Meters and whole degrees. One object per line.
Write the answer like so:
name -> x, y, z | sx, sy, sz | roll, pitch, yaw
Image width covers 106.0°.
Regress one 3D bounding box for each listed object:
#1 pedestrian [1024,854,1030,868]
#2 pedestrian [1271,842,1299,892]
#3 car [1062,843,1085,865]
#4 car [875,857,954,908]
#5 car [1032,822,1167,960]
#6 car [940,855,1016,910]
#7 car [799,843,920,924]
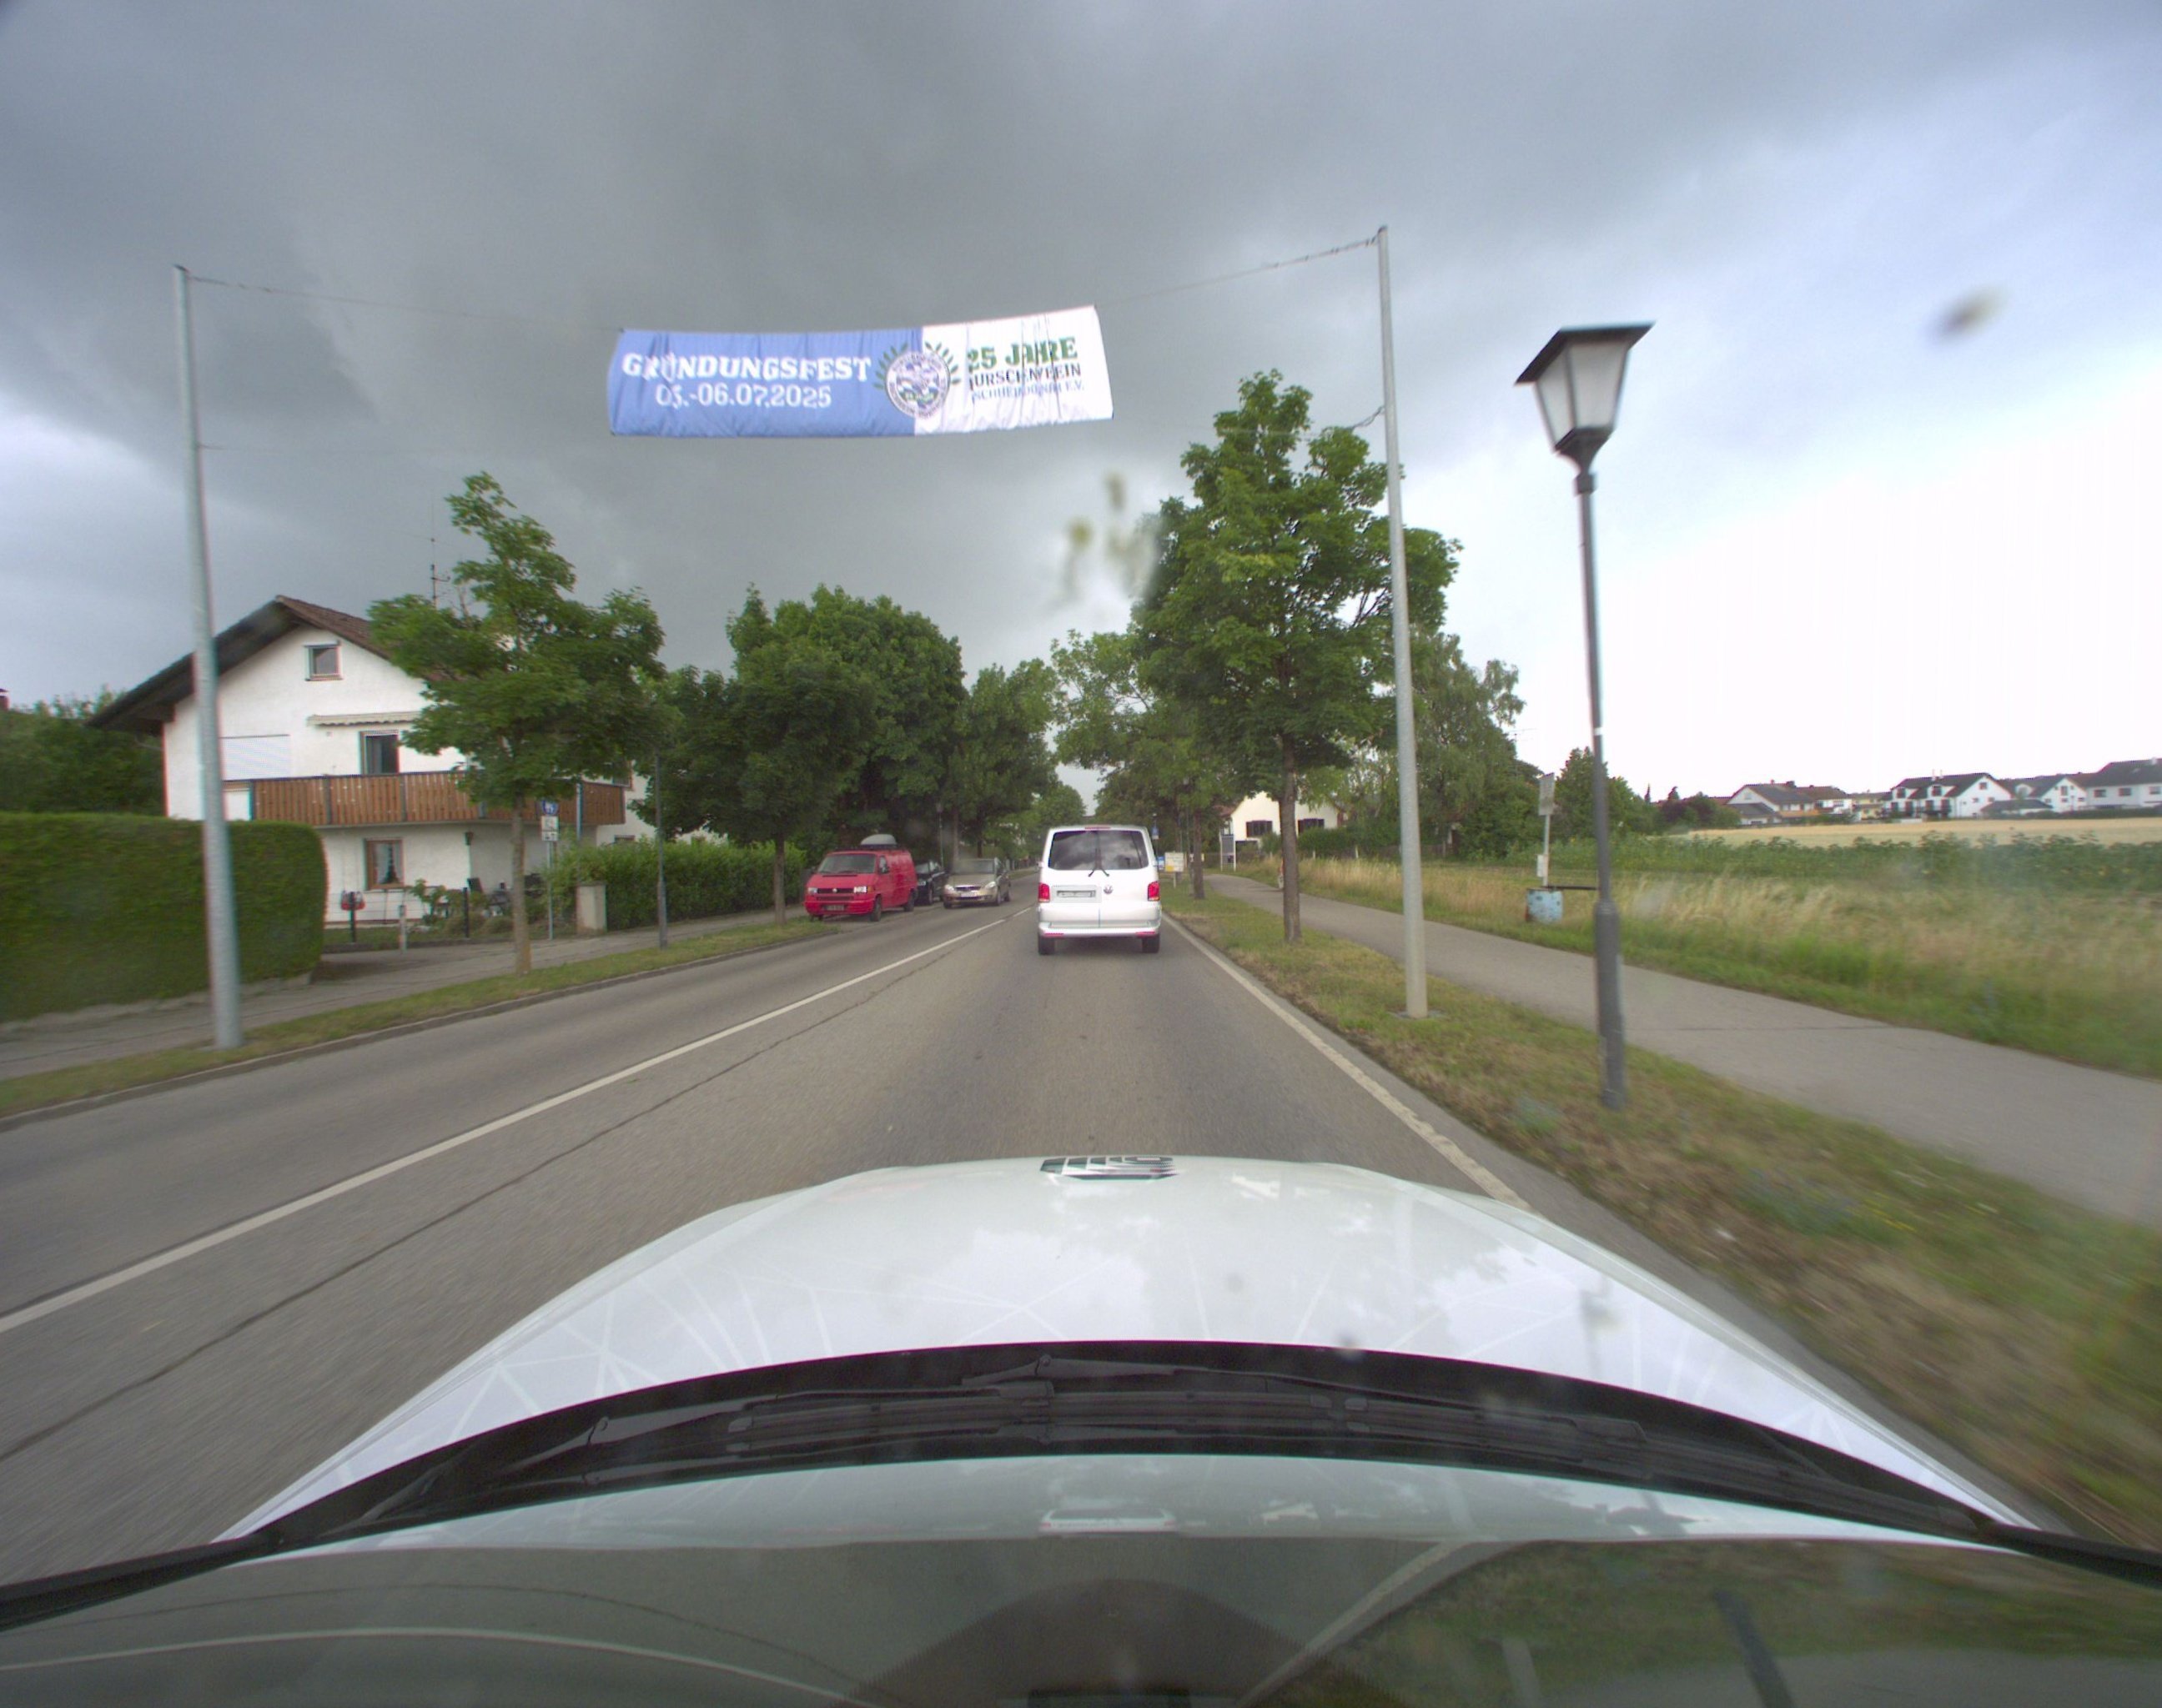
pedestrian -> -6.164, 0.775, 92.602 | 0.621, 1.549, 0.522 | -1, 0, -2
pedestrian -> 7.307, 0.466, 29.189 | 0.833, 1.755, 0.871 | -2, 0, 6
car -> -0.701, 0.007, 77.100 | 1.986, 2.013, 4.001 | -1, 0, 2
car -> -5.848, 0.943, 29.109 | 1.765, 1.598, 4.240 | -1, 1, 2
car -> 0.310, 0.532, 13.568 | 1.881, 1.912, 4.001 | -1, 0, 1
car -> -3.333, 0.884, 26.984 | 1.699, 1.532, 3.512 | -4, 0, 5
car -> -6.130, 0.731, 23.173 | 1.822, 2.030, 5.049 | -1, 0, 3
